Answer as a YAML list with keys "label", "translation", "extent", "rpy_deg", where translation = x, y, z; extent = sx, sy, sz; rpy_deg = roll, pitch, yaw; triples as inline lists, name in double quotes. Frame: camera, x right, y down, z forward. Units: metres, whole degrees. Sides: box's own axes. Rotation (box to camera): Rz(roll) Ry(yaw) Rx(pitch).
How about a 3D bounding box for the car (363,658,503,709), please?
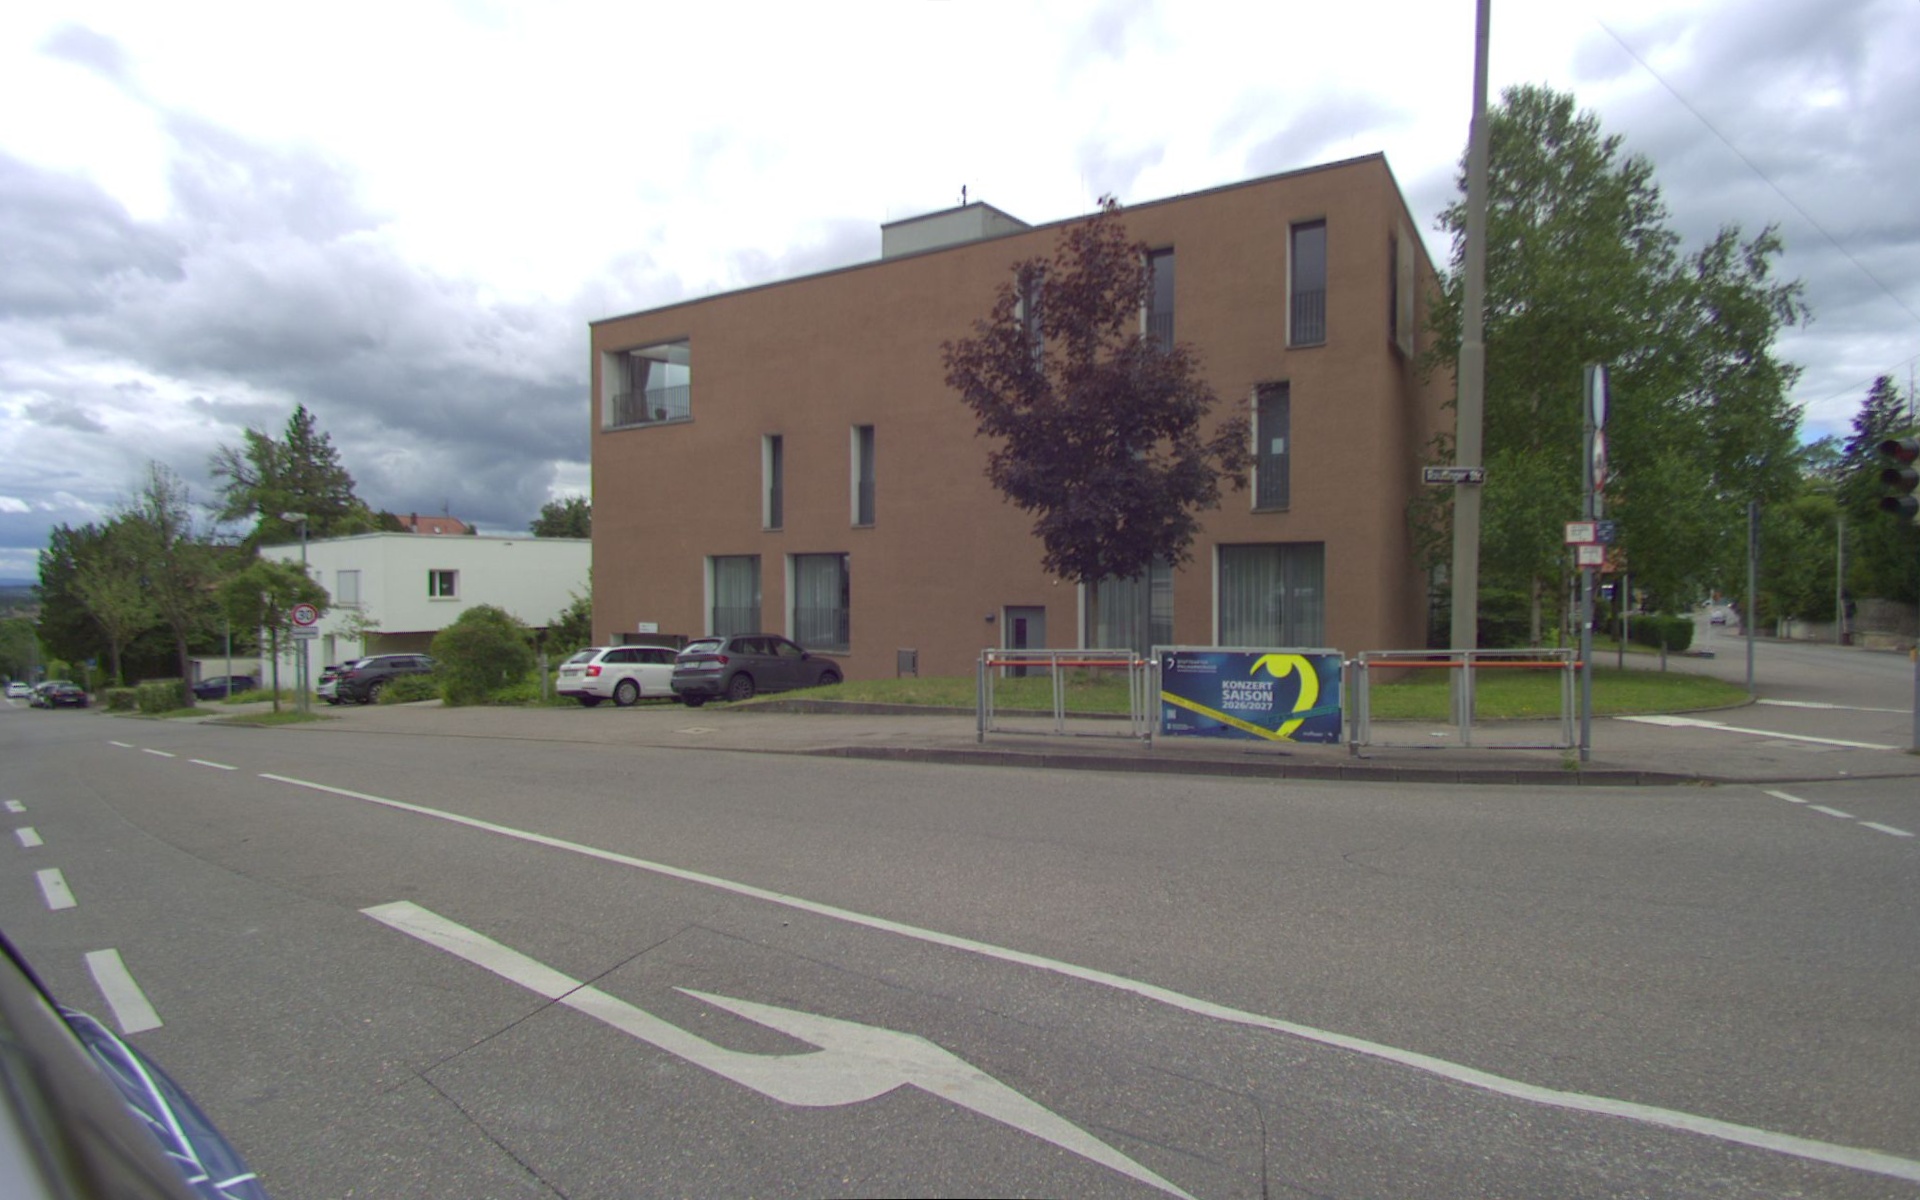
- label: "car"
  translation: [-18.248, 2.872, 35.143]
  extent: [1.727, 1.497, 3.943]
  rpy_deg: [-6, -4, 43]

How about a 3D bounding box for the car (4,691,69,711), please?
- label: "car"
  translation: [-82.152, 8.989, 90.050]
  extent: [1.721, 1.497, 3.955]
  rpy_deg: [-5, -3, 33]

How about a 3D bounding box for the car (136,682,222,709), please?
- label: "car"
  translation: [-46.992, 5.727, 60.924]
  extent: [3.939, 1.296, 1.665]
  rpy_deg: [0, -4, -43]

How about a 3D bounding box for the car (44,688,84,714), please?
- label: "car"
  translation: [-54.955, 6.158, 62.057]
  extent: [1.638, 1.432, 4.003]
  rpy_deg: [0, -4, -44]

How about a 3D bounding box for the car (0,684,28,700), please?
- label: "car"
  translation: [-95.934, 9.281, 102.336]
  extent: [4.362, 1.432, 1.861]
  rpy_deg: [-3, -3, 38]

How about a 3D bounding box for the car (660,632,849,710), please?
- label: "car"
  translation: [-4.477, 1.540, 22.489]
  extent: [1.724, 1.497, 3.950]
  rpy_deg: [-5, -4, 37]

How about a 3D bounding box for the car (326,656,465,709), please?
- label: "car"
  translation: [-19.991, 2.892, 35.928]
  extent: [1.793, 1.608, 3.943]
  rpy_deg: [-6, -4, 43]

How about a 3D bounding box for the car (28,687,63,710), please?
- label: "car"
  translation: [-61.578, 6.616, 68.135]
  extent: [1.638, 1.432, 4.371]
  rpy_deg: [0, -4, -44]

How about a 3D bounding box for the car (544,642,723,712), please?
- label: "car"
  translation: [-8.011, 1.872, 25.116]
  extent: [1.724, 1.497, 3.950]
  rpy_deg: [-5, -4, 37]
